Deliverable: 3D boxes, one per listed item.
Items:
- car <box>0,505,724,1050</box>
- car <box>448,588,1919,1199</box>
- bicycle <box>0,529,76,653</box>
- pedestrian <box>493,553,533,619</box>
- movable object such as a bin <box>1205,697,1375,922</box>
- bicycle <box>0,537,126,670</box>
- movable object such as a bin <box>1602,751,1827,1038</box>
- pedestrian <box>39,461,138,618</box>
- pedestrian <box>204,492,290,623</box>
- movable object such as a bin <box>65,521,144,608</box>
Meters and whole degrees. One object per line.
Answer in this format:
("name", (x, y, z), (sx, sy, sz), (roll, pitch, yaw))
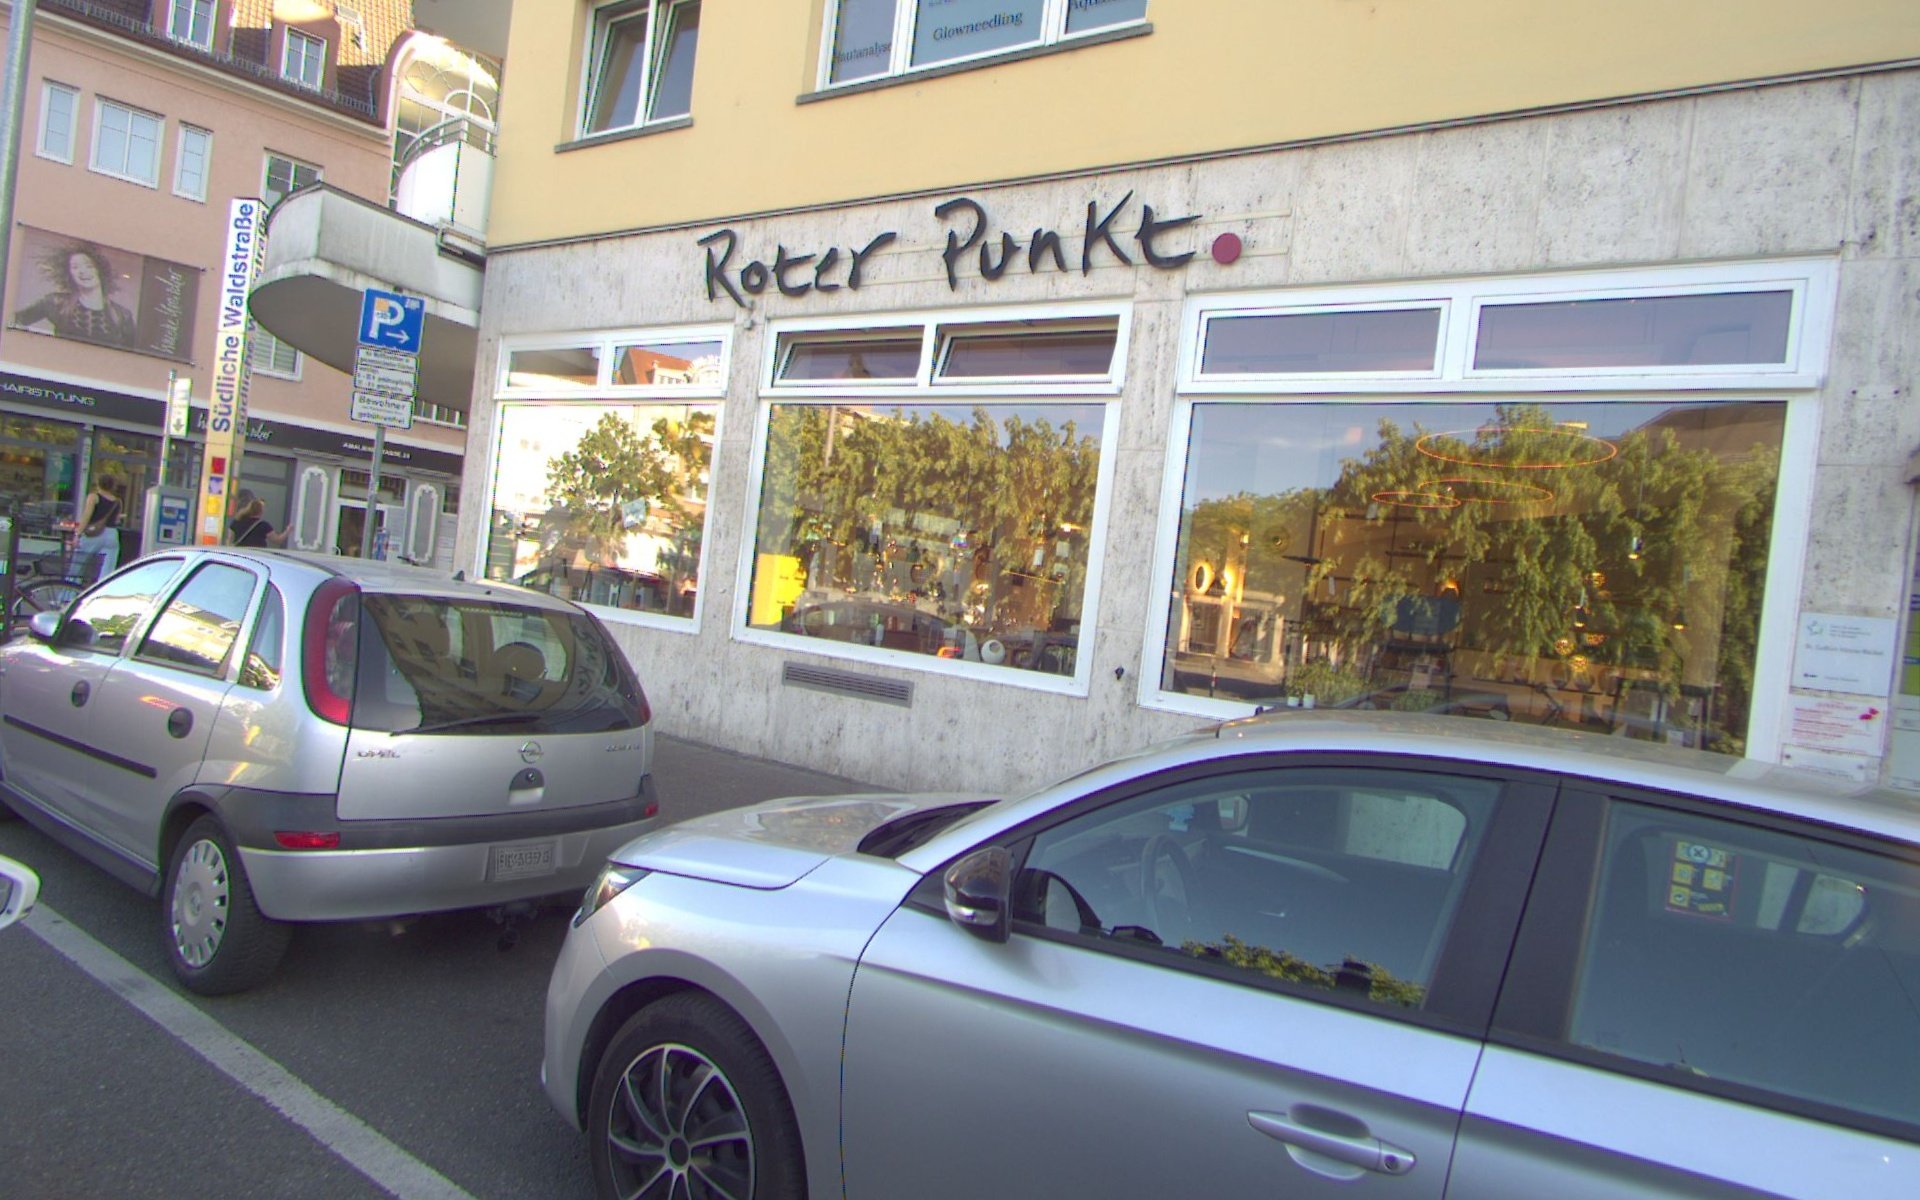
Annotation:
("car", (-2.968, 0.481, 4.469), (3.520, 1.443, 1.587), (6, -2, 32))
("car", (0.768, 0.940, 2.289), (3.624, 1.453, 1.587), (6, -2, 30))
("bicycle", (-9.068, -0.154, 8.806), (0.642, 1.072, 1.816), (7, -1, 33))
("pedestrian", (-11.402, -0.348, 25.644), (0.716, 1.567, 0.786), (8, -1, -28))
("movable object such as a bin", (1.813, 1.093, 5.485), (0.639, 1.035, 0.738), (6, -1, 31))
("bicycle", (-8.177, 0.000, 8.261), (0.642, 1.057, 1.884), (7, 0, 33))
("movable object such as a bin", (3.361, 1.262, 4.555), (0.639, 1.035, 0.738), (6, -1, 31))
("pedestrian", (-10.932, -0.754, 12.618), (0.879, 1.875, 0.680), (6, 3, 33))
("pedestrian", (-10.190, -0.597, 14.373), (0.776, 1.777, 0.720), (6, 2, 37))
("movable object such as a bin", (-11.969, -0.492, 14.073), (0.716, 1.117, 0.636), (7, 2, 35))
